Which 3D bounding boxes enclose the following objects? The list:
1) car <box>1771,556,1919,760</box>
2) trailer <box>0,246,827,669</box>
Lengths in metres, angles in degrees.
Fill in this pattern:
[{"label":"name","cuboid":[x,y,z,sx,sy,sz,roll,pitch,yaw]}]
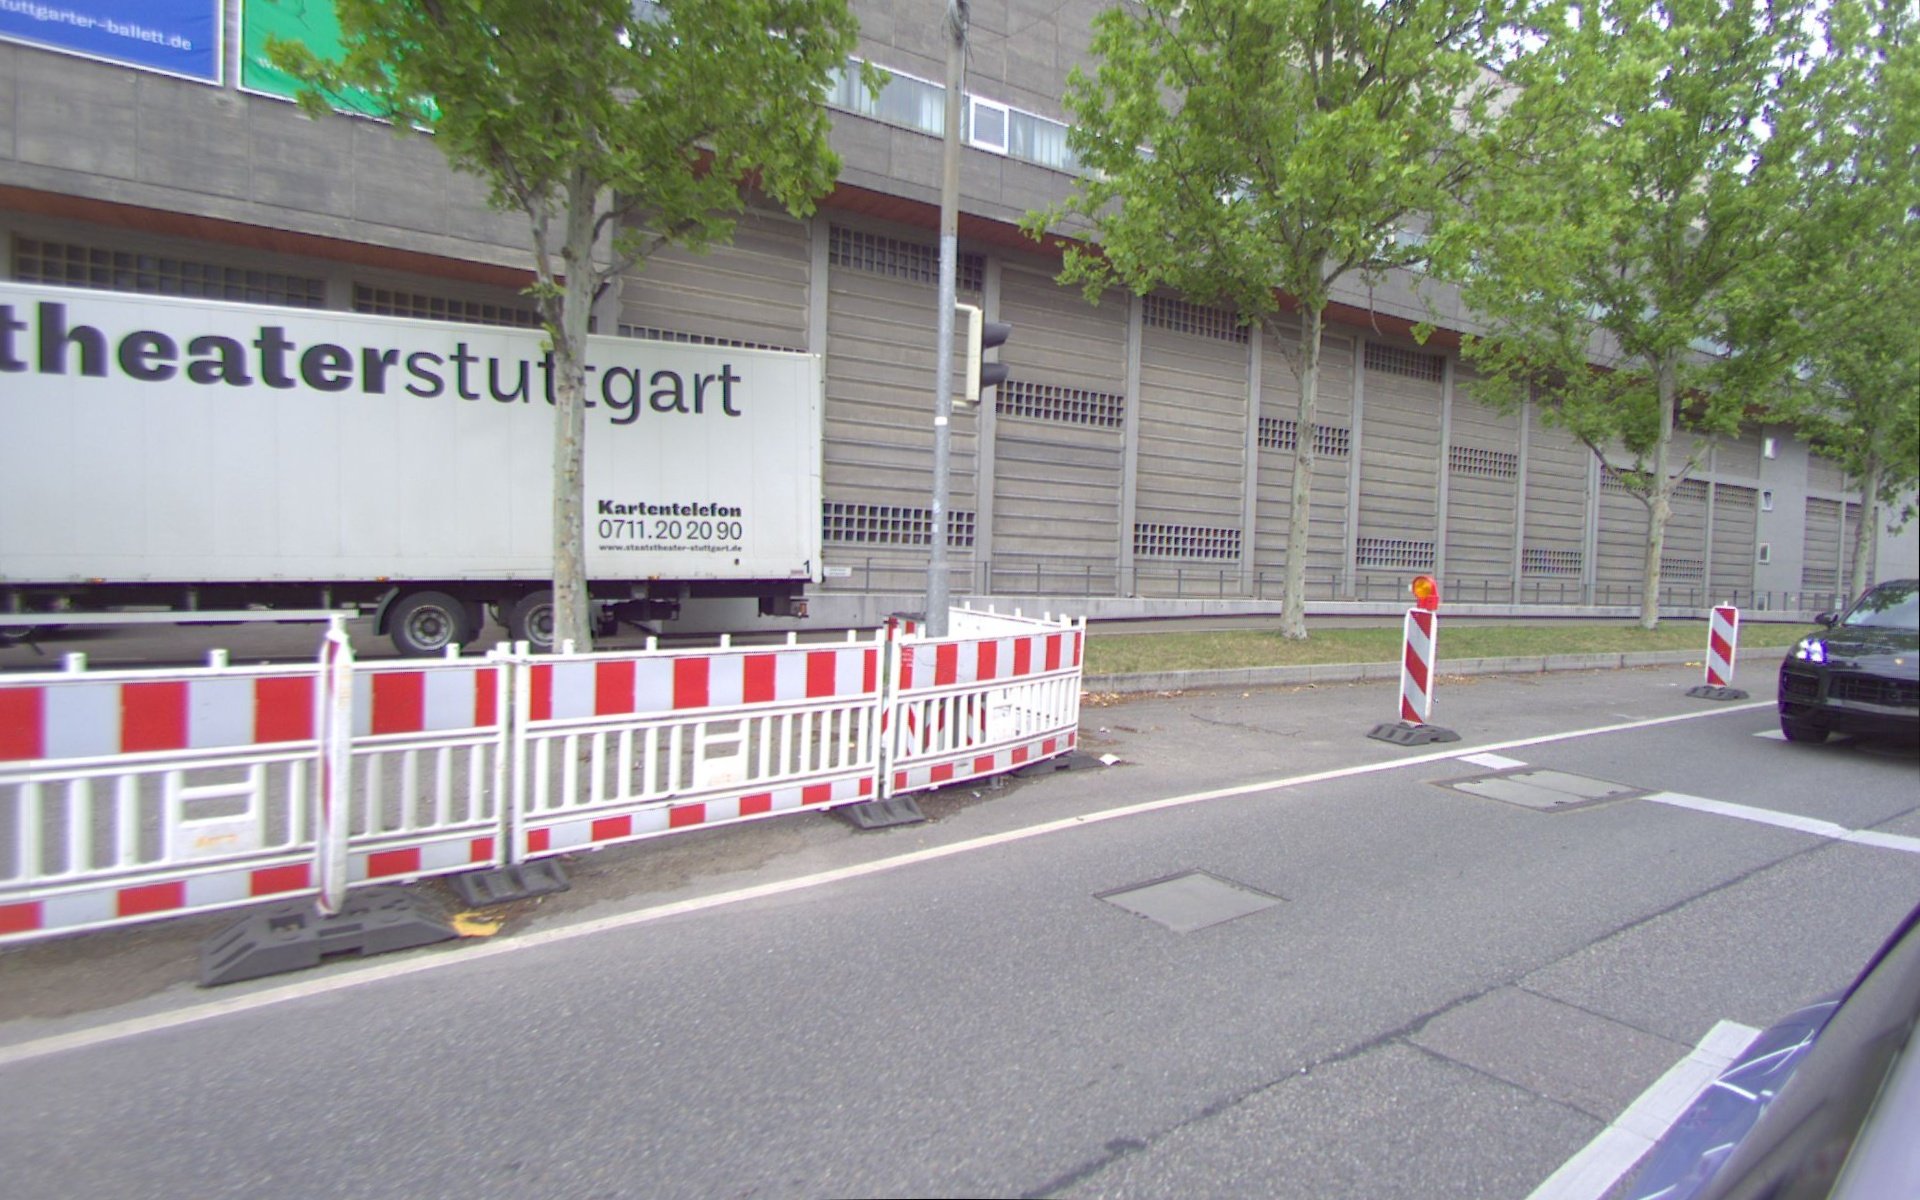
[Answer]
[{"label":"car","cuboid":[9.919,0.527,9.871,4.121,1.676,1.912,0,6,-35]},{"label":"trailer","cuboid":[-8.649,-1.425,12.018,13.681,4.153,3.164,-1,0,-24]}]
